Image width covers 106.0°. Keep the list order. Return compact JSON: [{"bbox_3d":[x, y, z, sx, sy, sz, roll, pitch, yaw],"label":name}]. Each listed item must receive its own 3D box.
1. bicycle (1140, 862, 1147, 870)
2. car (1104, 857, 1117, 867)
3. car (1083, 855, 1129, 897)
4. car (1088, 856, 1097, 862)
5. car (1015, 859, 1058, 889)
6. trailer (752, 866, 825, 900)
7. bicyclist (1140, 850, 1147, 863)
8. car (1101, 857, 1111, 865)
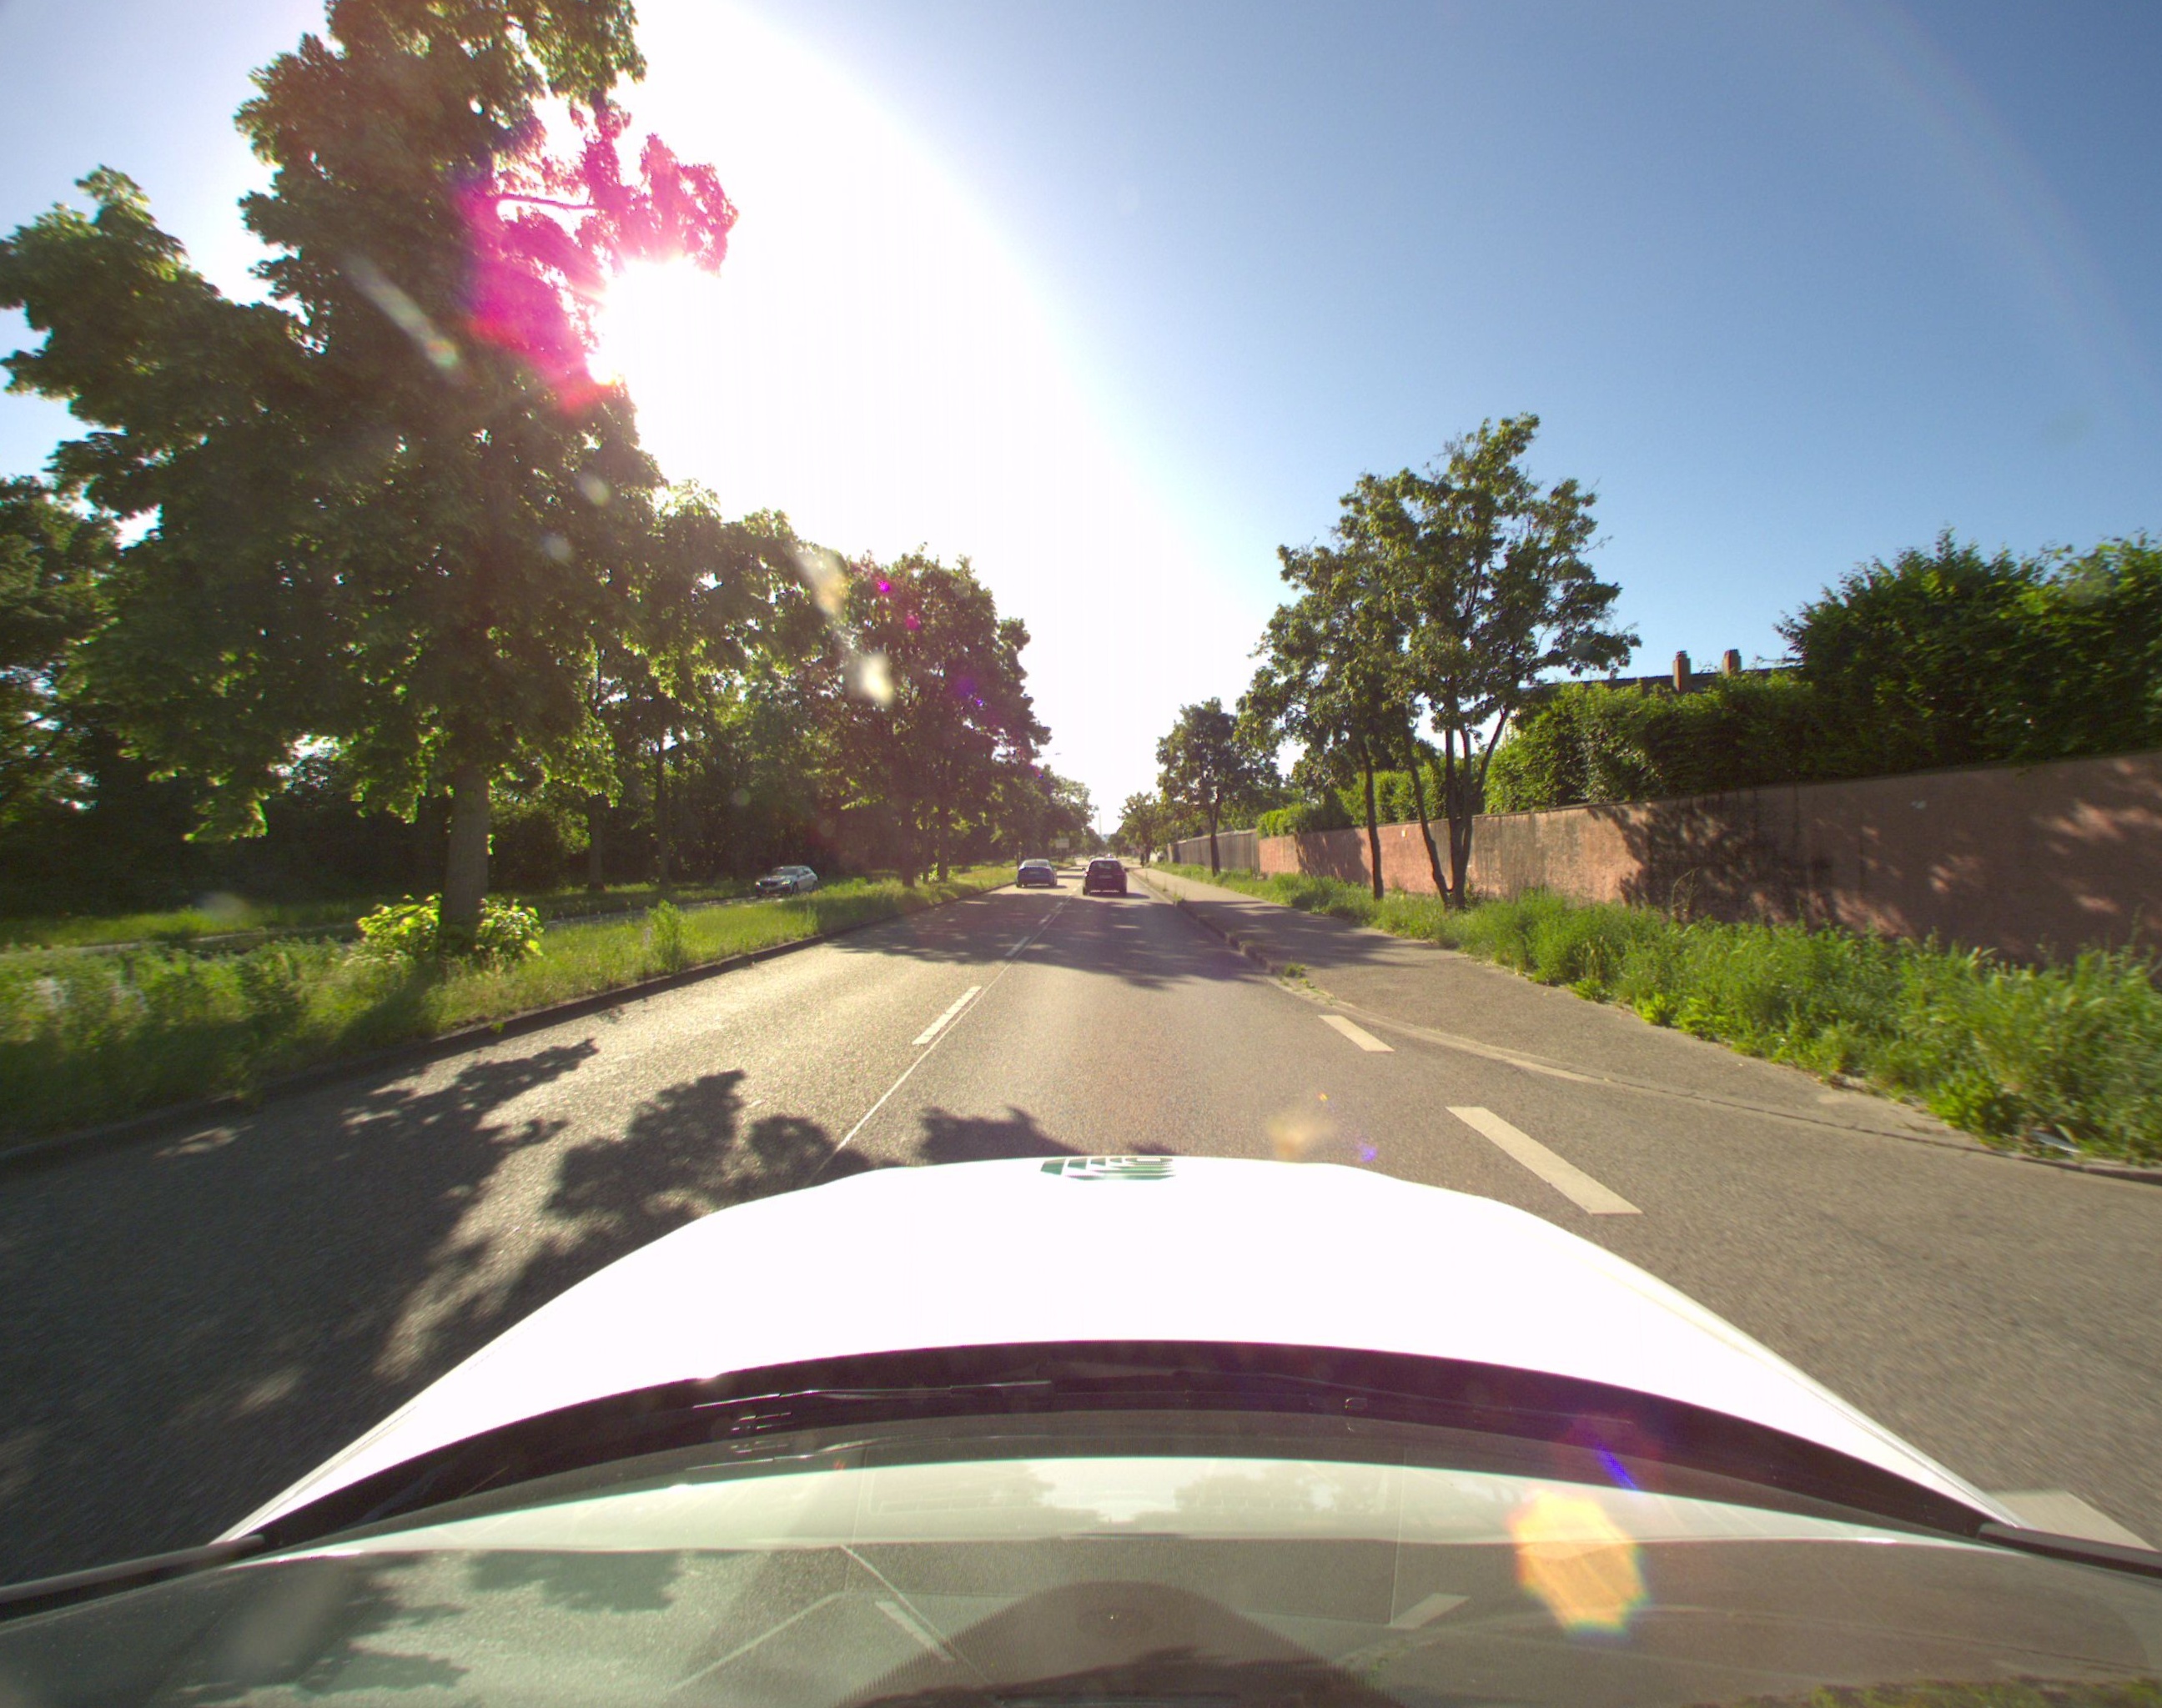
[{"bbox_3d":[6.971,1.338,90.696,0.653,0.892,1.875,-1,0,2],"label":"bicycle"},{"bbox_3d":[4.734,1.213,130.249,1.971,1.440,4.001,-1,1,1],"label":"car"},{"bbox_3d":[1.067,0.861,33.299,1.753,1.559,4.003,1,0,3],"label":"car"},{"bbox_3d":[2.784,1.179,193.575,1.973,1.440,3.997,-1,1,-2],"label":"car"},{"bbox_3d":[-2.239,0.988,42.011,1.988,1.405,4.000,-1,0,0],"label":"car"},{"bbox_3d":[-14.154,1.380,39.703,1.734,1.424,4.498,-3,0,2],"label":"trailer"},{"bbox_3d":[6.992,0.318,90.947,0.678,1.418,0.812,-1,0,1],"label":"bicyclist"},{"bbox_3d":[5.184,1.412,168.792,1.971,1.440,4.001,-1,1,1],"label":"car"}]
